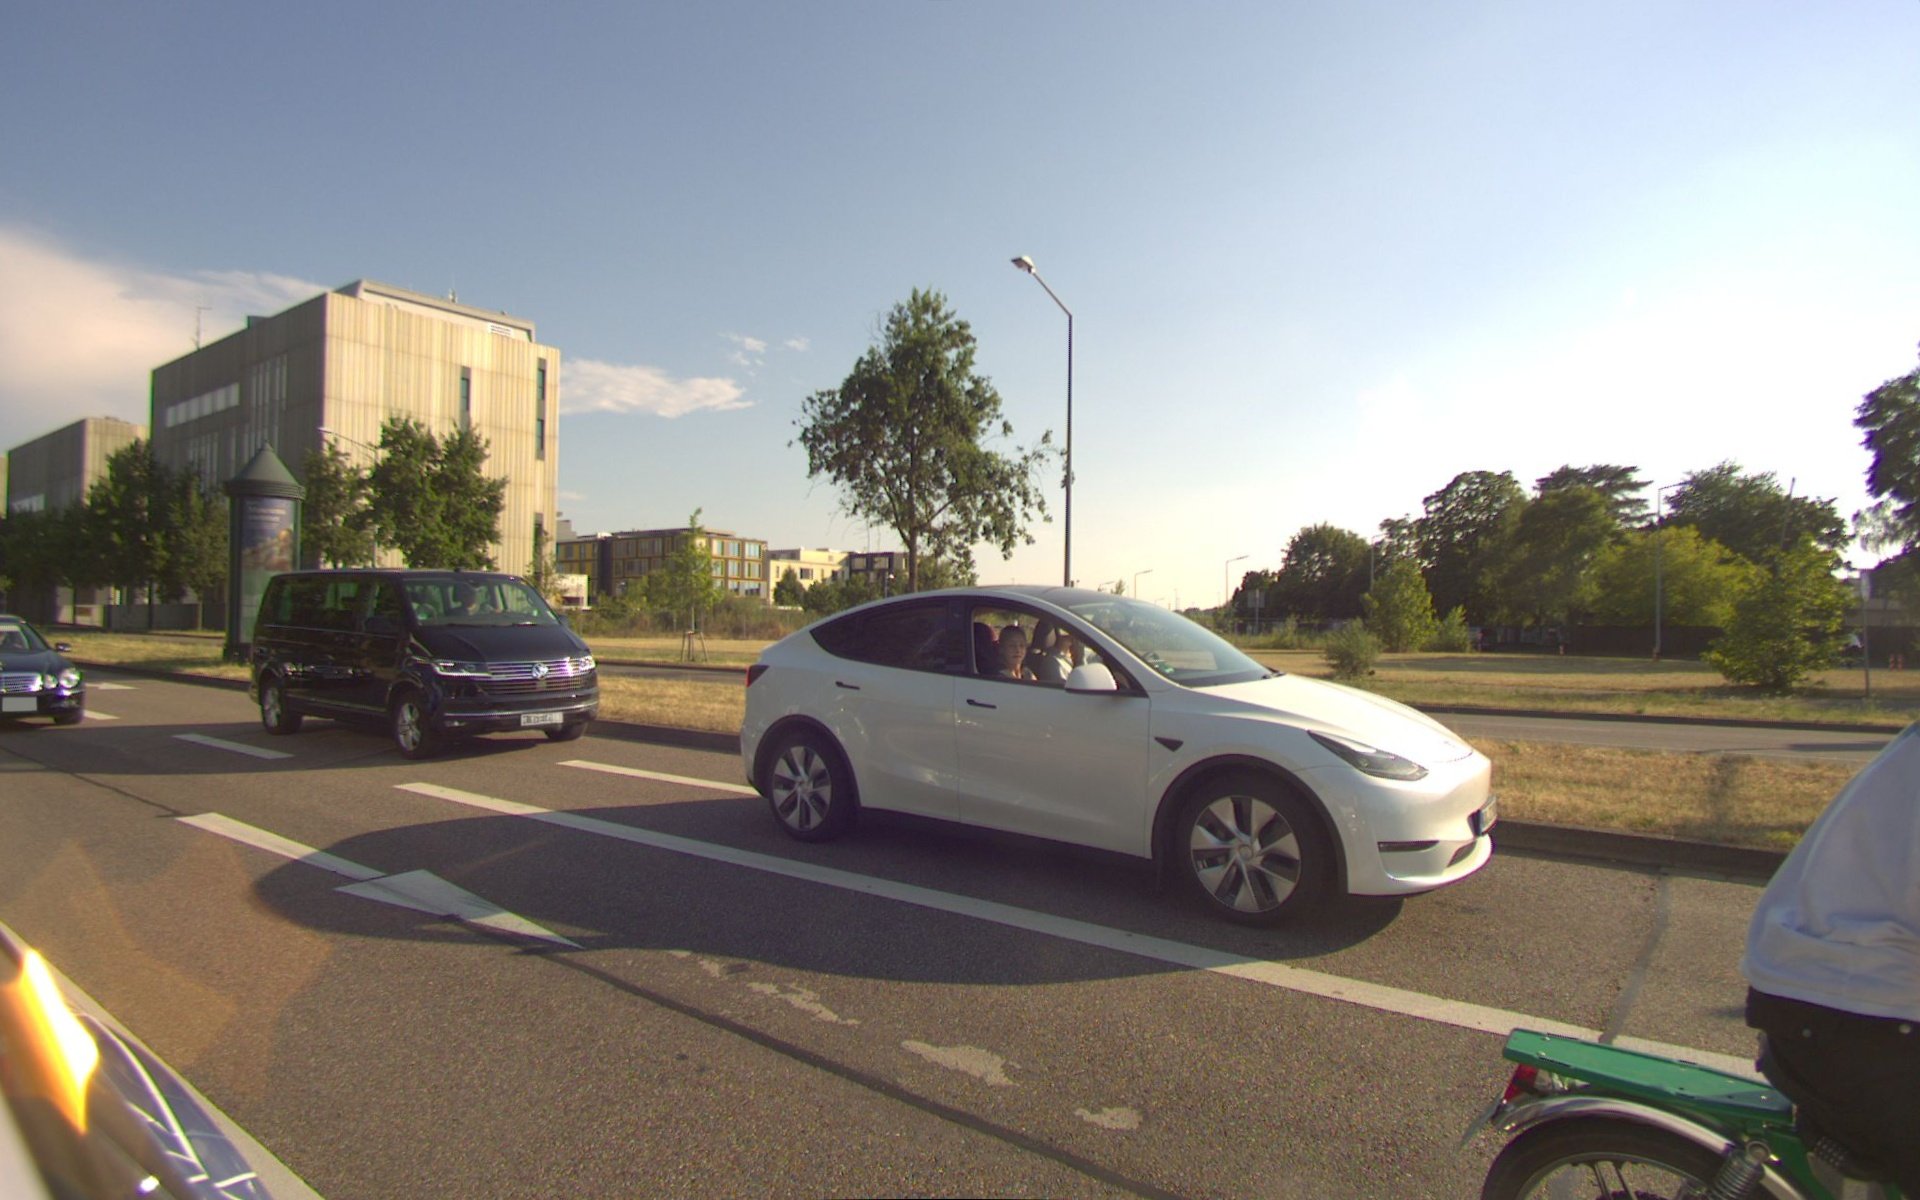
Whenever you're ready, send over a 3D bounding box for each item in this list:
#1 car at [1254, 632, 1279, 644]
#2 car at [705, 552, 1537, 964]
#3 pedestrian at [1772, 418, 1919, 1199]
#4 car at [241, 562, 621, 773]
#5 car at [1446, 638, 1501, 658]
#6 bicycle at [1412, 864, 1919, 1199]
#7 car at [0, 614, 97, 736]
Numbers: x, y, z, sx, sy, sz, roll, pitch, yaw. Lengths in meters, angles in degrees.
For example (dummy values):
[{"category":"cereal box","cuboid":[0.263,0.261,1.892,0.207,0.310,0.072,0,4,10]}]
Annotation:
[{"category":"car","cuboid":[32.078,3.964,105.969,1.315,1.302,2.810,1,-2,-10]},{"category":"car","cuboid":[0.667,0.654,6.062,4.669,1.611,1.719,-1,-1,37]},{"category":"pedestrian","cuboid":[1.643,0.536,1.328,0.854,1.530,0.649,-1,-3,41]},{"category":"car","cuboid":[-6.185,0.639,11.569,5.003,1.947,1.839,-1,0,36]},{"category":"car","cuboid":[40.365,3.762,79.639,1.631,1.537,4.407,0,-2,-7]},{"category":"bicycle","cuboid":[1.626,0.967,1.295,1.855,0.882,0.472,-1,-3,41]},{"category":"car","cuboid":[-13.066,0.927,13.422,4.491,1.448,1.787,-1,-2,41]}]
